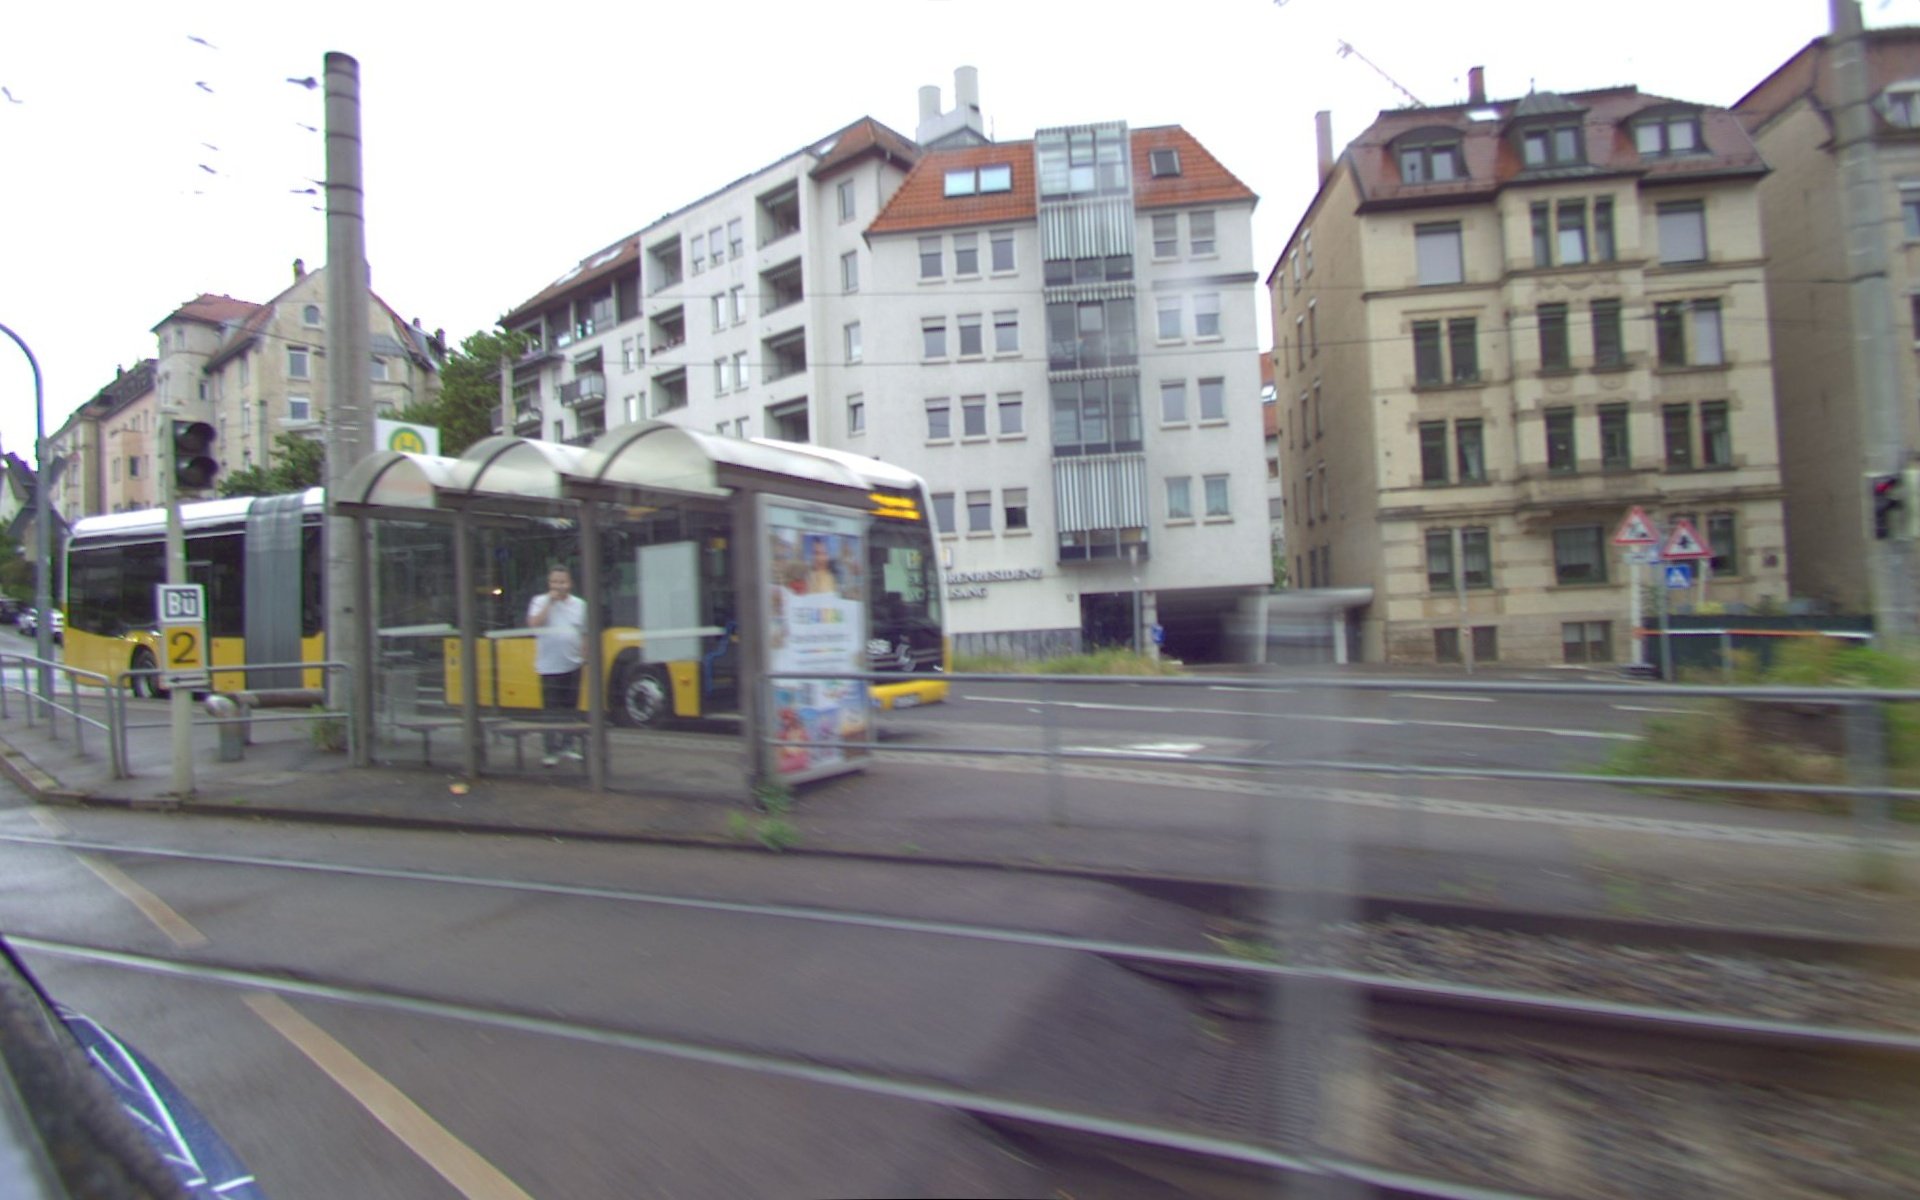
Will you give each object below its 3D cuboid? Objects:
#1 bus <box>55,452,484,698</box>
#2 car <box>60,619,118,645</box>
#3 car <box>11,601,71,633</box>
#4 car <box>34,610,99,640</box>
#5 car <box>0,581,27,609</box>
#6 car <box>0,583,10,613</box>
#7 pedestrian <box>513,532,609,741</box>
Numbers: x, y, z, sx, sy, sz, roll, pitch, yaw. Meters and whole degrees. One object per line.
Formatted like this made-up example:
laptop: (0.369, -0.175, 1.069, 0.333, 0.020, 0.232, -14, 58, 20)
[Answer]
bus: (-12.363, -0.331, 17.768, 9.071, 3.495, 2.572, 0, -1, 30)
car: (-45.061, 1.642, 52.323, 4.355, 1.232, 1.729, 0, -1, 42)
car: (-54.847, 1.053, 60.382, 4.274, 1.849, 1.784, -1, -2, 35)
car: (-50.325, 1.368, 56.990, 4.350, 1.605, 1.974, 0, -1, 38)
car: (-63.162, -0.315, 66.758, 3.658, 1.849, 1.661, 0, 0, 35)
car: (-66.411, -0.137, 68.848, 3.995, 2.029, 1.974, 0, -1, 38)
pedestrian: (-3.516, 0.313, 8.931, 0.540, 1.765, 0.573, 0, -1, 27)
